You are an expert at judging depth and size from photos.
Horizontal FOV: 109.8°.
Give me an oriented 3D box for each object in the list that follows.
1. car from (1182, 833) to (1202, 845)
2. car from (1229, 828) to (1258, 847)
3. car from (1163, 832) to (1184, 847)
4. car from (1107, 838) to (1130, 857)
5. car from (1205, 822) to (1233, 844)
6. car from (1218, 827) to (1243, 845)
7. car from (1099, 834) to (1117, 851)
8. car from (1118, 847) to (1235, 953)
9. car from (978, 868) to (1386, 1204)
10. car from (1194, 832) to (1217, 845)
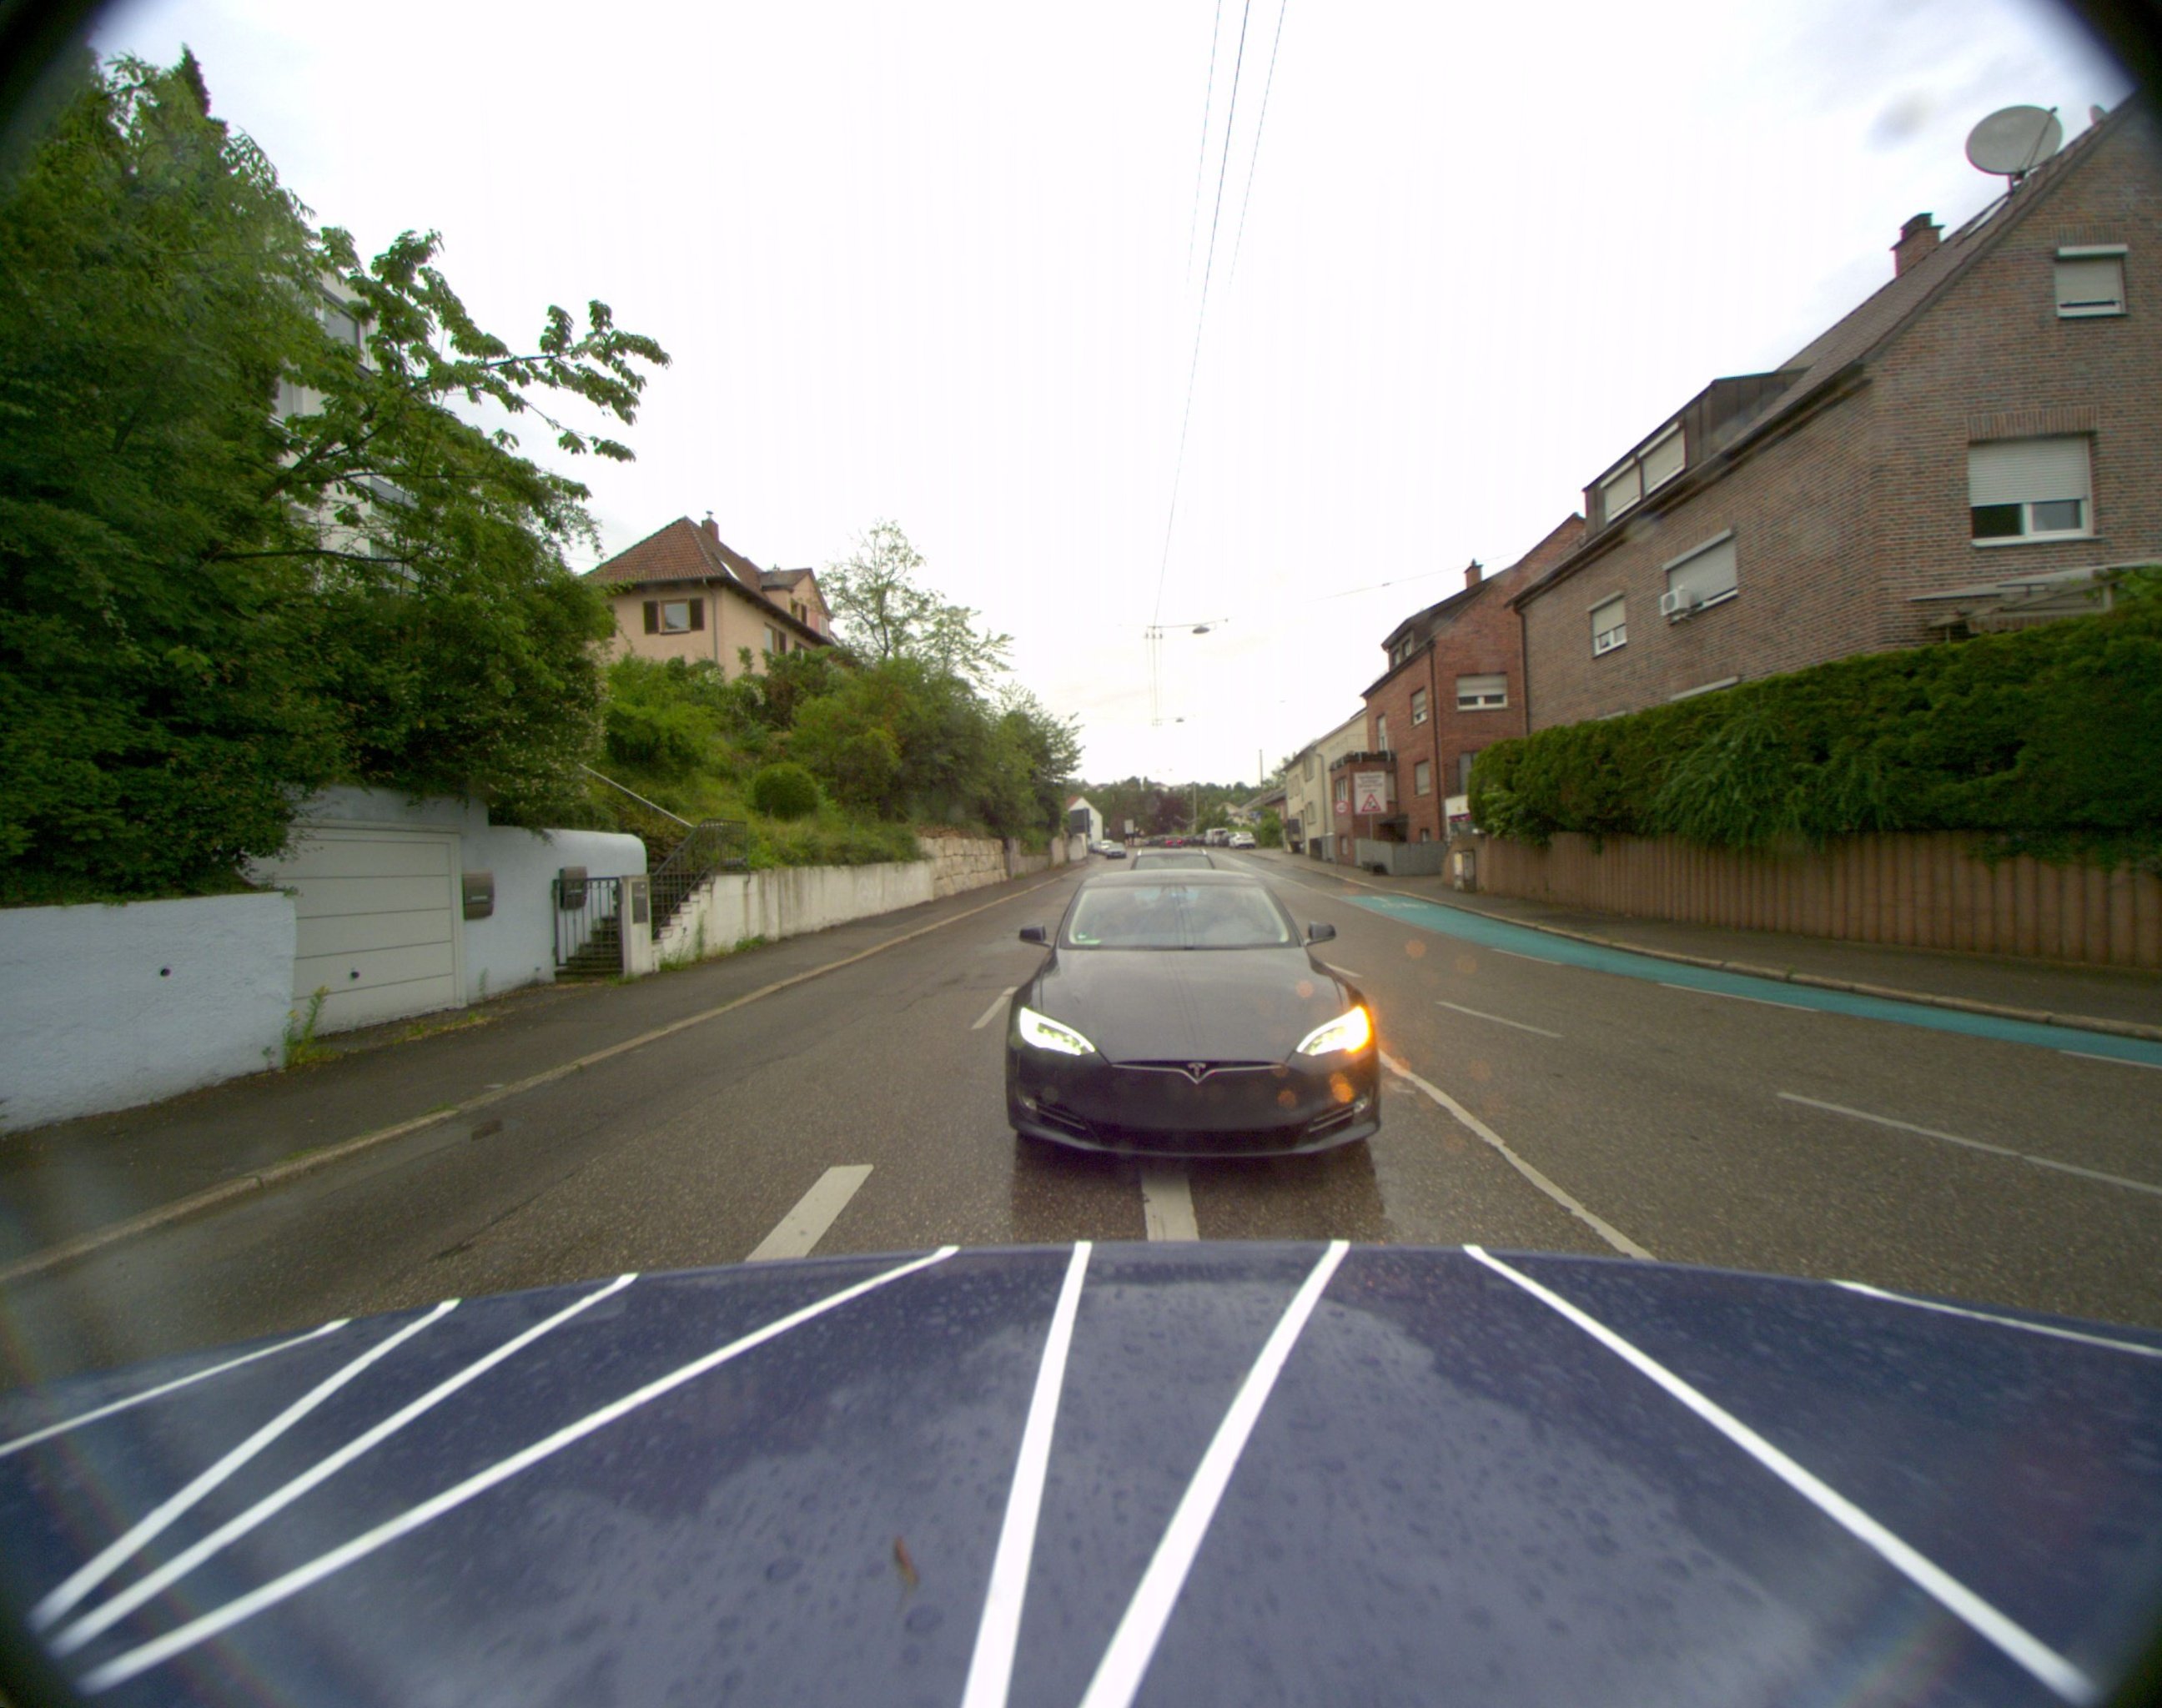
[{"bbox_3d":[14.262,-1.867,97.457,1.654,1.388,3.859,-4,1,-4],"label":"car"},{"bbox_3d":[15.353,-1.549,71.967,1.946,1.557,4.263,-4,1,2],"label":"car"},{"bbox_3d":[10.610,-1.659,87.301,1.853,1.671,4.171,0,2,-1],"label":"car"},{"bbox_3d":[3.644,-0.608,73.172,2.002,1.596,4.360,-2,-1,4],"label":"car"},{"bbox_3d":[15.610,-2.329,86.145,2.257,2.273,4.546,-4,1,0],"label":"car"},{"bbox_3d":[15.721,-1.900,80.115,1.814,1.793,4.263,-4,1,2],"label":"car"},{"bbox_3d":[3.179,-1.329,89.164,1.820,1.855,4.038,-2,2,-1],"label":"car"},{"bbox_3d":[1.638,0.717,13.852,1.789,1.580,3.784,-2,1,4],"label":"car"},{"bbox_3d":[0.614,0.911,5.577,1.870,1.407,4.000,-2,1,4],"label":"car"},{"bbox_3d":[15.013,-1.859,91.516,1.654,1.482,4.009,-4,1,-6],"label":"car"}]
